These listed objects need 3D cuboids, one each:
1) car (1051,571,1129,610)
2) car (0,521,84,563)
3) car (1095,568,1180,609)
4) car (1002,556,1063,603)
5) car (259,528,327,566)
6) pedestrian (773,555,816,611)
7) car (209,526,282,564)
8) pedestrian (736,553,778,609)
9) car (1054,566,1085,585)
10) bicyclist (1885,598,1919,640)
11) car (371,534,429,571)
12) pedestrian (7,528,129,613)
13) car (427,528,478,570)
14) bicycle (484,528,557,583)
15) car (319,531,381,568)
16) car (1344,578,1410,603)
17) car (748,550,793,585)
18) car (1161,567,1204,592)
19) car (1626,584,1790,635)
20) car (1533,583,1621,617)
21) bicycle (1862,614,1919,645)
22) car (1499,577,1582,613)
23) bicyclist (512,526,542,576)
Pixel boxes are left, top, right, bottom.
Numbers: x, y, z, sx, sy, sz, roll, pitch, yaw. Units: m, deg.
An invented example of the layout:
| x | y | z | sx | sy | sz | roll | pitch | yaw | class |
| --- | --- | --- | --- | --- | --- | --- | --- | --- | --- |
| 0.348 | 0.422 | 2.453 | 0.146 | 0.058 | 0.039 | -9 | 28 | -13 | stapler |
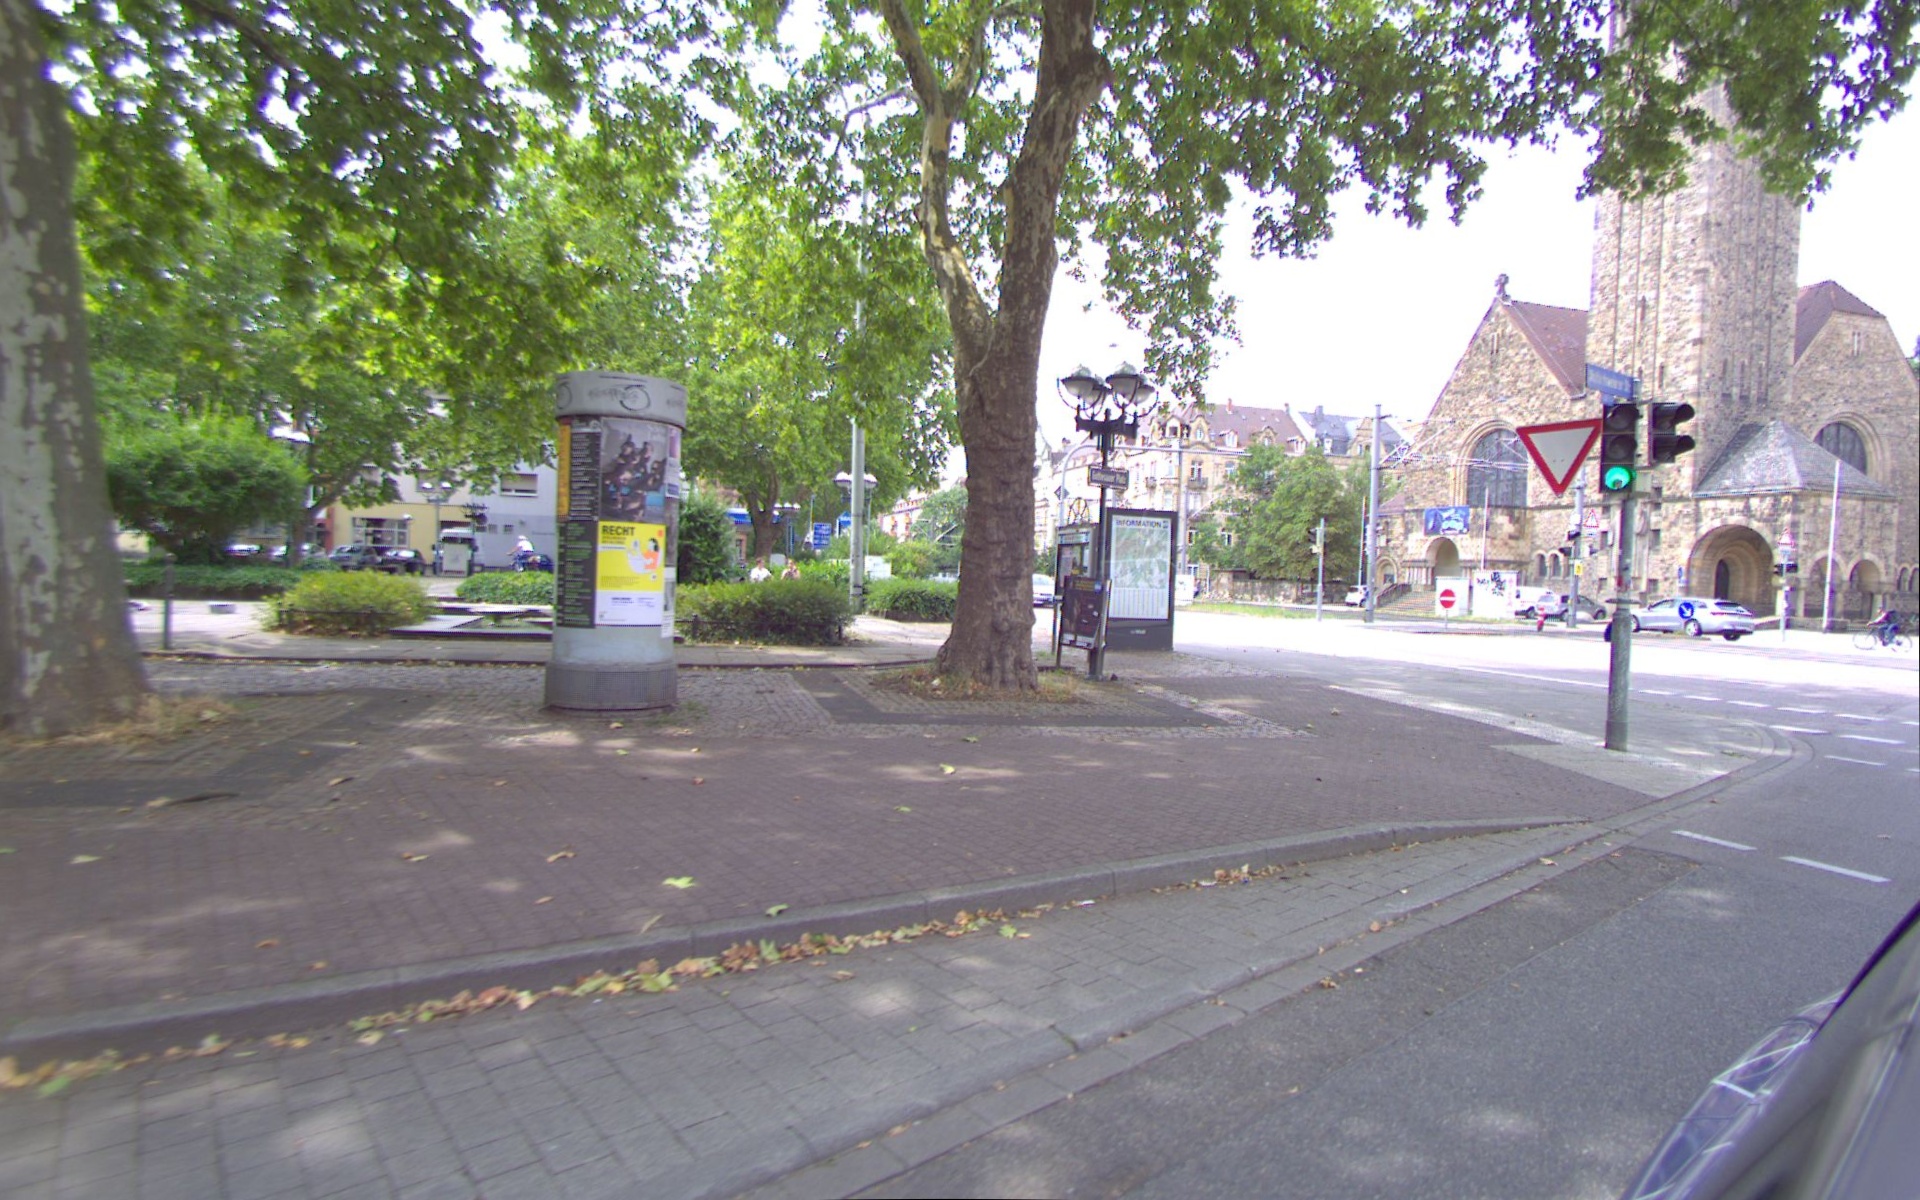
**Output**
| x | y | z | sx | sy | sz | roll | pitch | yaw | class |
| --- | --- | --- | --- | --- | --- | --- | --- | --- | --- |
| 5.200 | -0.422 | 40.969 | 1.801 | 1.400 | 4.297 | 2 | 1 | -11 | car |
| -43.922 | -2.735 | 47.389 | 3.917 | 1.816 | 2.004 | 1 | 2 | -25 | car |
| 7.456 | -0.526 | 42.913 | 1.800 | 1.530 | 4.298 | 2 | 1 | -16 | car |
| 3.299 | -0.984 | 46.569 | 1.959 | 2.038 | 4.007 | 1 | 2 | -8 | car |
| -35.305 | -2.772 | 53.662 | 1.958 | 1.838 | 4.010 | 2 | 2 | -18 | car |
| -4.168 | -0.440 | 25.474 | 0.849 | 1.334 | 1.182 | 2 | 1 | -18 | pedestrian |
| -37.399 | -2.852 | 53.085 | 1.958 | 1.838 | 4.010 | 2 | 2 | -18 | car |
| -5.052 | -0.475 | 25.172 | 0.849 | 1.334 | 1.182 | 2 | 1 | -18 | pedestrian |
| 12.472 | -2.826 | 115.352 | 1.958 | 2.038 | 4.010 | 2 | 2 | -17 | car |
| 34.793 | 0.683 | 37.327 | 0.831 | 1.516 | 0.584 | 1 | 0 | 25 | bicyclist |
| -30.288 | -2.568 | 54.811 | 1.958 | 1.838 | 4.010 | 2 | 2 | -18 | car |
| -13.586 | -0.449 | 15.452 | 1.100 | 1.215 | 0.891 | 2 | 1 | -18 | pedestrian |
| -27.704 | -2.778 | 55.365 | 1.958 | 2.133 | 4.038 | 2 | 2 | -20 | car |
| -14.975 | -1.506 | 34.529 | 2.138 | 1.727 | 0.724 | 2 | 1 | -17 | bicycle |
| -32.671 | -2.668 | 54.322 | 1.958 | 1.838 | 4.010 | 2 | 2 | -18 | car |
| 30.143 | -0.697 | 73.192 | 3.871 | 1.661 | 2.005 | 2 | 2 | -15 | car |
| -11.271 | -1.912 | 59.845 | 1.958 | 1.901 | 4.392 | 2 | 1 | -19 | car |
| 19.246 | -1.801 | 87.809 | 1.958 | 2.038 | 4.010 | 2 | 2 | -15 | car |
| 26.644 | 0.294 | 36.311 | 1.732 | 1.542 | 4.856 | 2 | 2 | -8 | car |
| 34.286 | -0.007 | 56.269 | 3.915 | 1.671 | 2.005 | 2 | 2 | -15 | car |
| 34.631 | 1.087 | 37.398 | 1.794 | 1.099 | 0.593 | 1 | 0 | 26 | bicycle |
| 33.944 | -0.296 | 59.222 | 3.871 | 1.905 | 2.005 | 2 | 1 | -15 | car |
| -14.773 | -1.668 | 34.534 | 0.849 | 1.673 | 0.563 | 2 | 1 | -18 | bicyclist |
